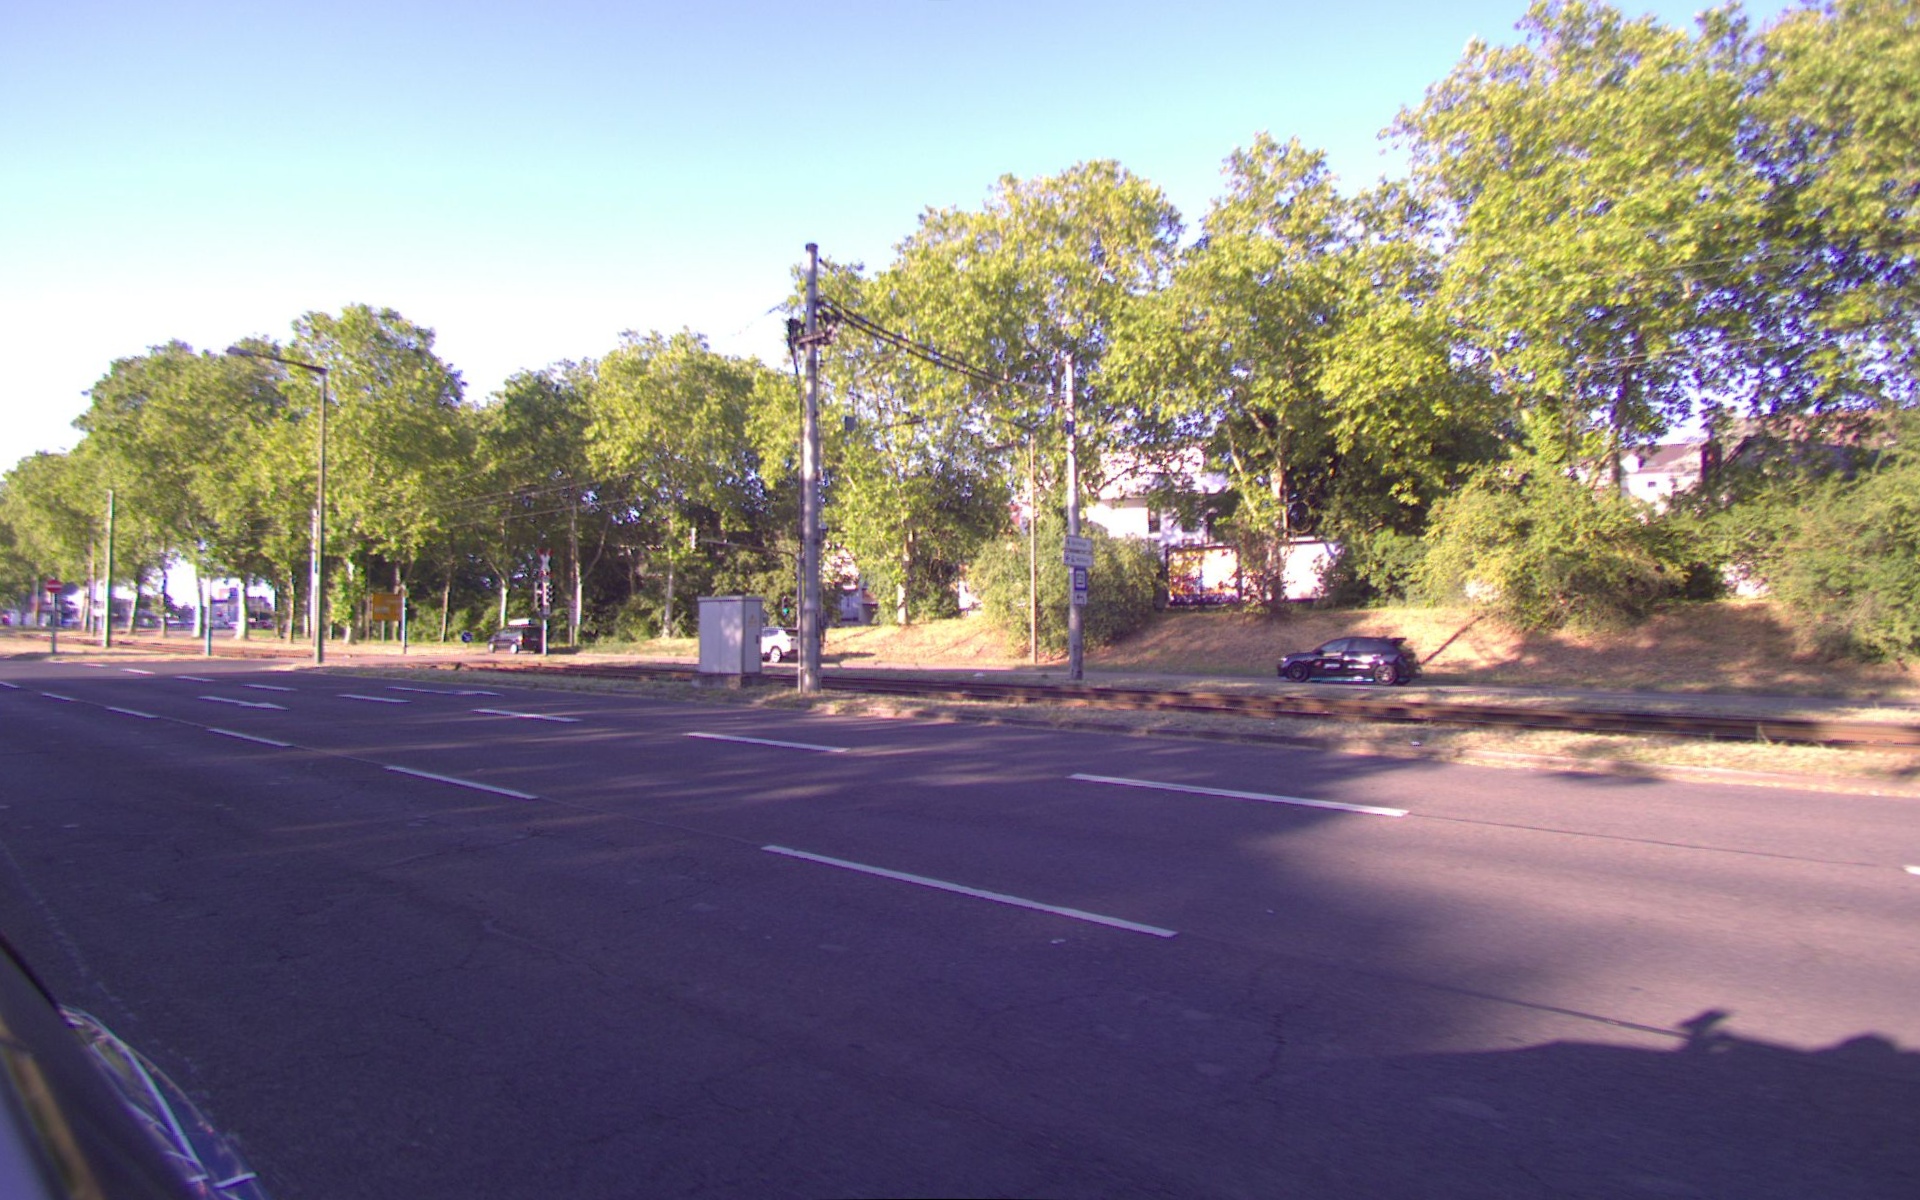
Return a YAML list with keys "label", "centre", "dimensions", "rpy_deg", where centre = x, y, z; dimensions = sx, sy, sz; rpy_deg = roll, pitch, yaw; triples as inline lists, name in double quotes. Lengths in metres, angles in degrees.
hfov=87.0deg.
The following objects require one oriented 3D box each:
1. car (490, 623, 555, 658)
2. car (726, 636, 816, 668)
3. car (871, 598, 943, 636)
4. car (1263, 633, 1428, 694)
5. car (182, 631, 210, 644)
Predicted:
- label: "car"
  centre: [-26.916, 2.503, 62.268]
  dimensions: [4.188, 2.082, 1.973]
  rpy_deg: [-2, -4, 40]
- label: "car"
  centre: [-8.905, 2.435, 47.578]
  dimensions: [4.187, 1.452, 1.973]
  rpy_deg: [-2, -4, 40]
- label: "car"
  centre: [-3.826, 1.269, 72.636]
  dimensions: [5.629, 2.532, 1.780]
  rpy_deg: [-3, -5, 44]
- label: "car"
  centre: [11.456, 1.843, 30.200]
  dimensions: [4.188, 1.694, 1.973]
  rpy_deg: [-2, -4, 40]
- label: "car"
  centre: [-89.106, 4.350, 118.012]
  dimensions: [3.981, 1.453, 1.608]
  rpy_deg: [-2, -4, 39]
